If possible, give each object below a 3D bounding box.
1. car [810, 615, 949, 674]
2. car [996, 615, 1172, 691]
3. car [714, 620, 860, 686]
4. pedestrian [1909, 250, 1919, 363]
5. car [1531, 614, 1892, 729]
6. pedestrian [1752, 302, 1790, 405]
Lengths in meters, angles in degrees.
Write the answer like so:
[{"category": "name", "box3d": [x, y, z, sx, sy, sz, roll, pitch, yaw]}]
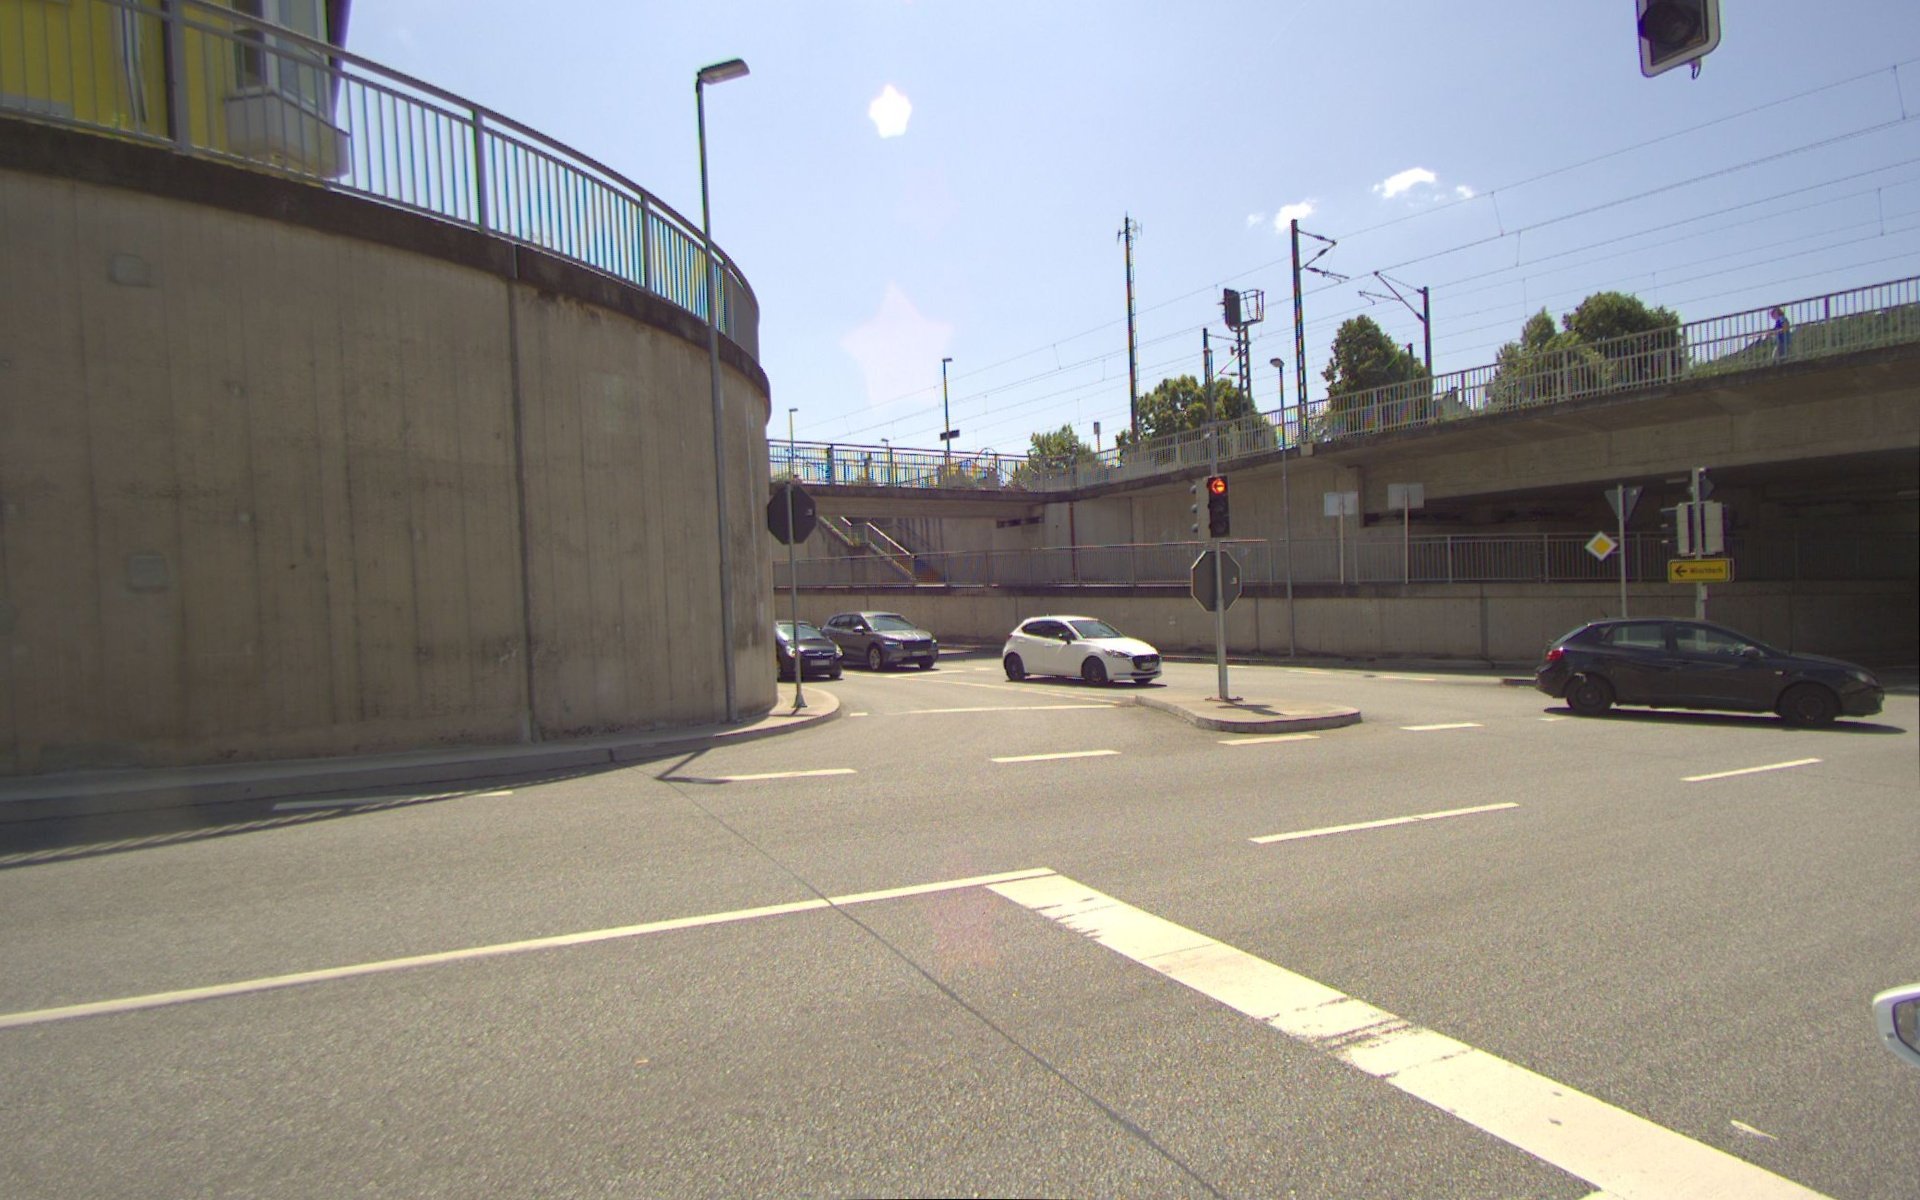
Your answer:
[{"category": "car", "box3d": [-2.373, 1.230, 28.788, 1.983, 1.493, 4.080, -2, 0, -39]}, {"category": "car", "box3d": [2.666, 1.095, 22.324, 1.711, 1.451, 3.871, -2, 1, -36]}, {"category": "car", "box3d": [-4.553, 1.305, 26.014, 1.983, 1.493, 4.080, -2, 0, -39]}, {"category": "pedestrian", "box3d": [18.587, -5.631, 19.099, 0.526, 2.108, 0.576, 0, -1, -12]}, {"category": "car", "box3d": [10.520, 0.933, 14.421, 3.933, 1.393, 1.762, -1, 1, 34]}, {"category": "pedestrian", "box3d": [18.126, -5.491, 22.444, 0.530, 2.108, 0.535, 1, -1, -36]}]
